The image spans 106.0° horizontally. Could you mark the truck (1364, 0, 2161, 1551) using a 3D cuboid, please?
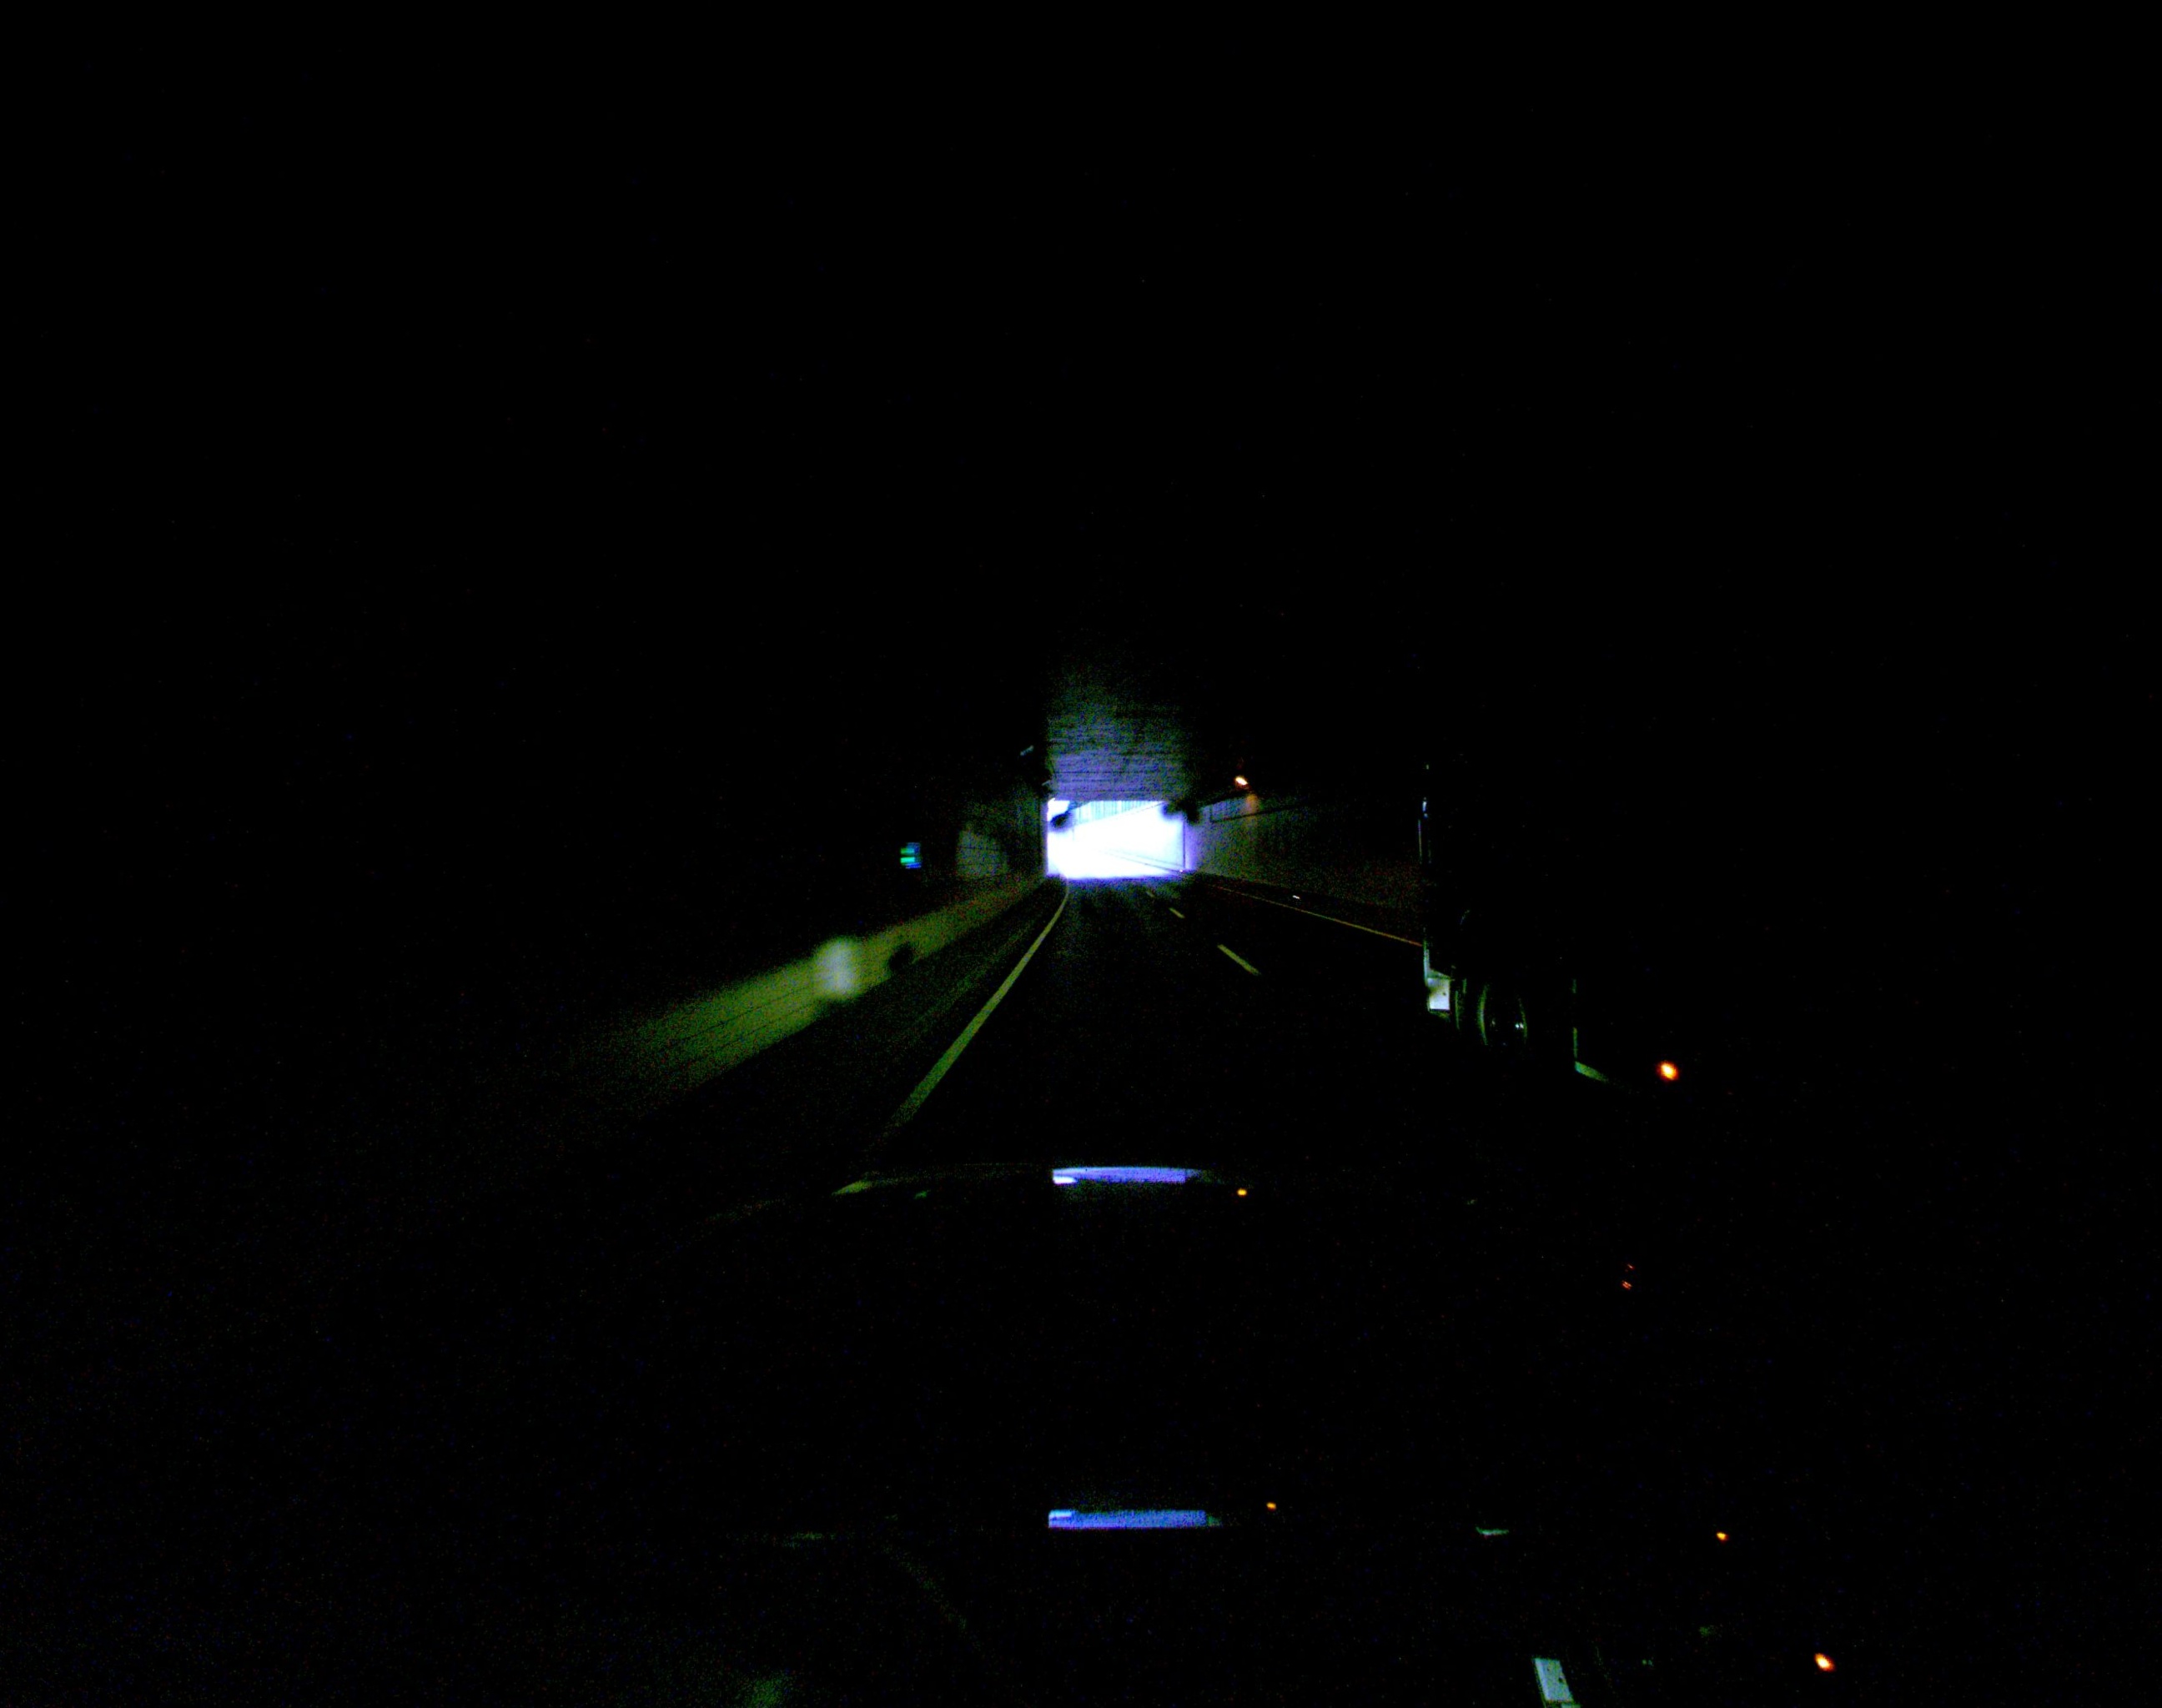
[{"bbox_3d":[3.620,-0.550,1.414,2.879,3.913,9.909,-1,0,1],"label":"truck"}]
